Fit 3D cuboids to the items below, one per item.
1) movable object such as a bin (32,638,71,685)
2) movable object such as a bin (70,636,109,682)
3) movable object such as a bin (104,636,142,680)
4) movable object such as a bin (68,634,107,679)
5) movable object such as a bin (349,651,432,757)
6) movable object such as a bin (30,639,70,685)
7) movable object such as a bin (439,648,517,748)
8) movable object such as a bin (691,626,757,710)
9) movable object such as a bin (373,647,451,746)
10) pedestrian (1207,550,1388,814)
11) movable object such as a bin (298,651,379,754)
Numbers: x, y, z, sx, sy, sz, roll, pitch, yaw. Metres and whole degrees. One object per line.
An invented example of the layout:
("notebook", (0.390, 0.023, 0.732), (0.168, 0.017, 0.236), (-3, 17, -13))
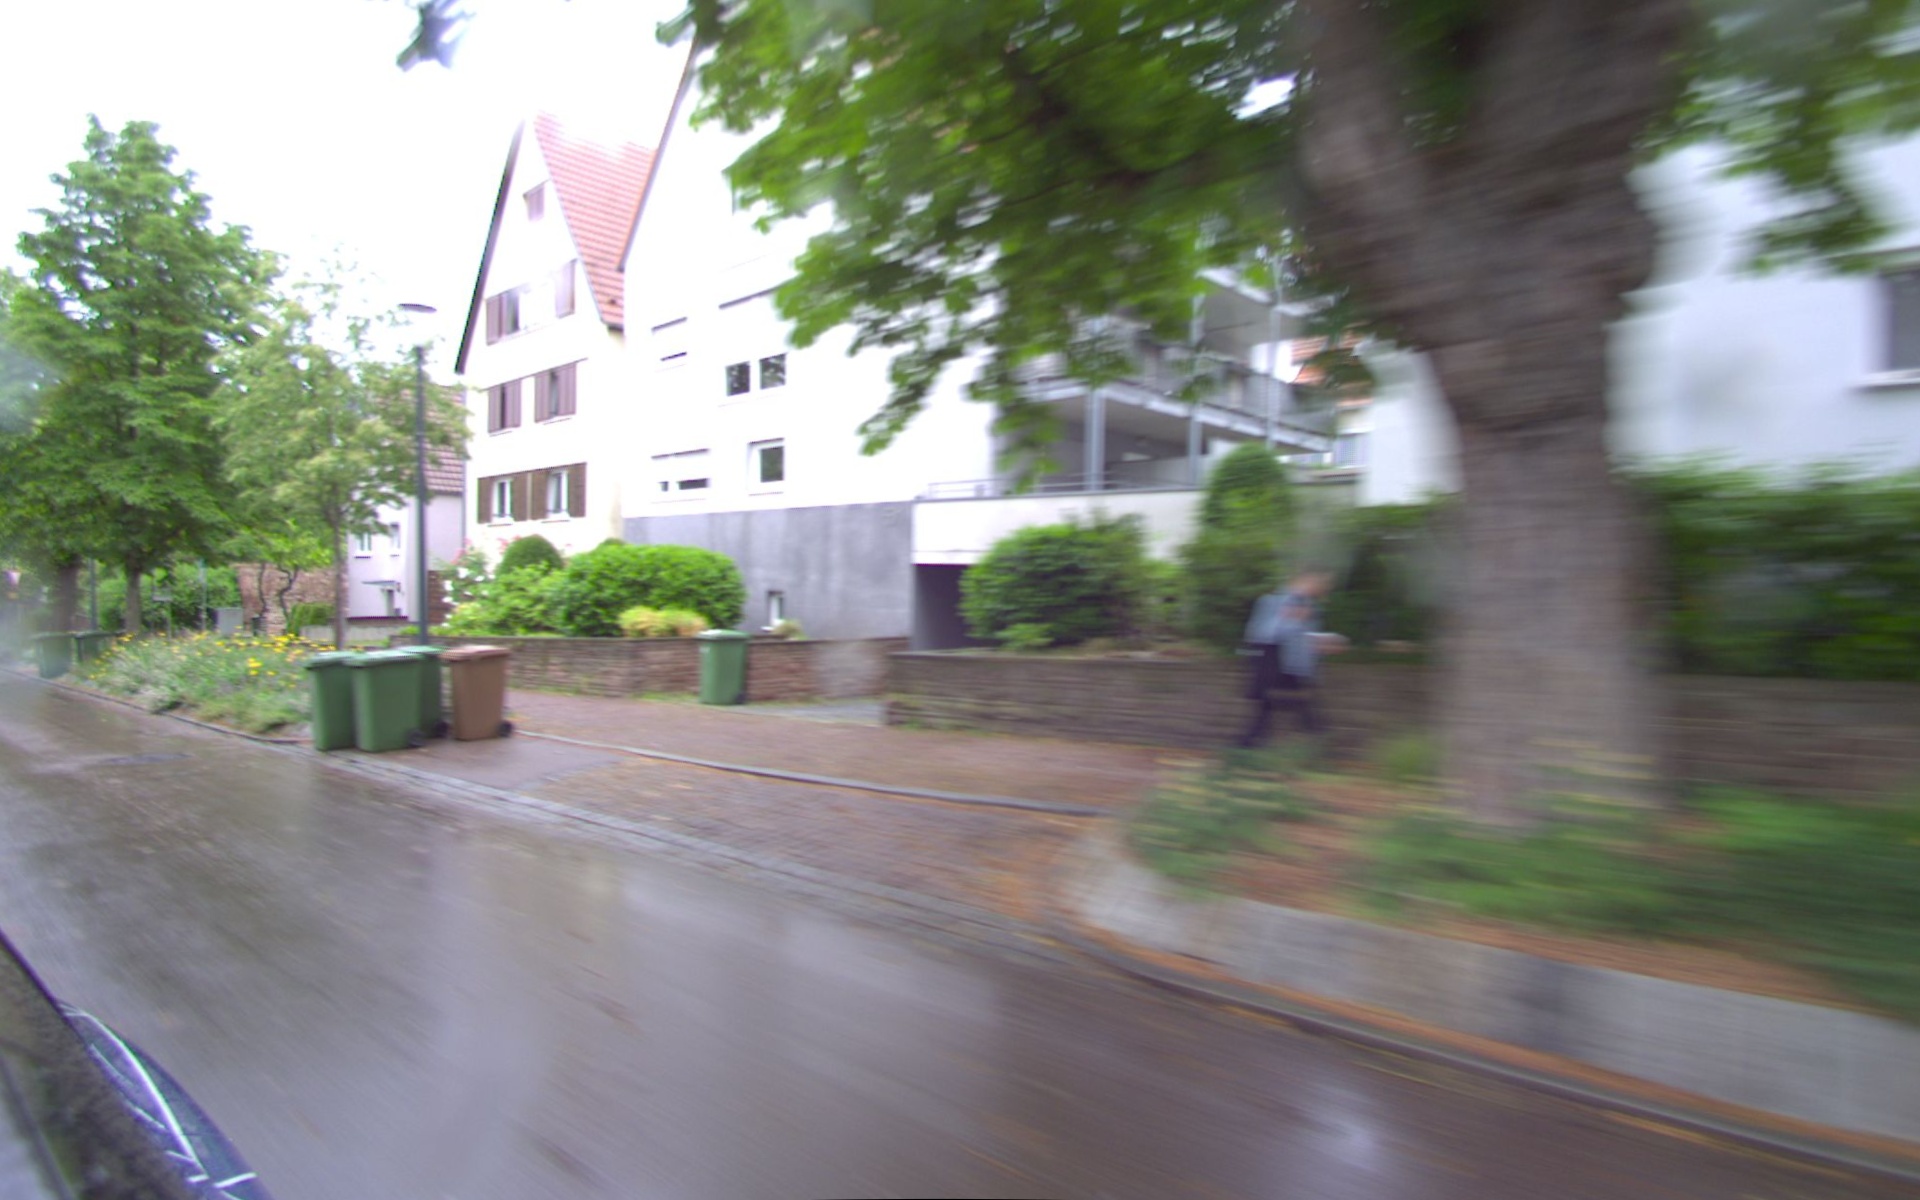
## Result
("movable object such as a bin", (-22.079, 1.485, 24.593), (0.570, 1.085, 0.578), (-1, 2, 39))
("movable object such as a bin", (-21.630, 1.463, 25.146), (0.568, 1.067, 0.611), (-1, 2, 40))
("movable object such as a bin", (-21.220, 1.458, 25.646), (0.560, 1.067, 0.611), (-1, 2, 40))
("movable object such as a bin", (-22.076, 1.419, 25.607), (0.581, 1.069, 0.617), (-1, 2, 40))
("movable object such as a bin", (-6.242, 1.115, 11.097), (0.655, 1.075, 0.596), (1, -1, -45))
("movable object such as a bin", (-22.522, 1.530, 25.052), (0.564, 1.067, 0.621), (-1, 2, 40))
("movable object such as a bin", (-5.571, 1.109, 11.695), (0.655, 1.082, 0.596), (1, -1, -45))
("movable object such as a bin", (-3.387, 0.956, 14.521), (0.659, 1.141, 0.655), (-1, 0, 43))
("movable object such as a bin", (-6.410, 1.110, 11.847), (0.655, 1.082, 0.596), (1, -1, -45))
("pedestrian", (2.223, 0.494, 6.689), (0.932, 1.606, 0.643), (-1, 1, 41))
("movable object such as a bin", (-6.981, 1.128, 11.373), (0.655, 1.082, 0.596), (1, -1, -45))
